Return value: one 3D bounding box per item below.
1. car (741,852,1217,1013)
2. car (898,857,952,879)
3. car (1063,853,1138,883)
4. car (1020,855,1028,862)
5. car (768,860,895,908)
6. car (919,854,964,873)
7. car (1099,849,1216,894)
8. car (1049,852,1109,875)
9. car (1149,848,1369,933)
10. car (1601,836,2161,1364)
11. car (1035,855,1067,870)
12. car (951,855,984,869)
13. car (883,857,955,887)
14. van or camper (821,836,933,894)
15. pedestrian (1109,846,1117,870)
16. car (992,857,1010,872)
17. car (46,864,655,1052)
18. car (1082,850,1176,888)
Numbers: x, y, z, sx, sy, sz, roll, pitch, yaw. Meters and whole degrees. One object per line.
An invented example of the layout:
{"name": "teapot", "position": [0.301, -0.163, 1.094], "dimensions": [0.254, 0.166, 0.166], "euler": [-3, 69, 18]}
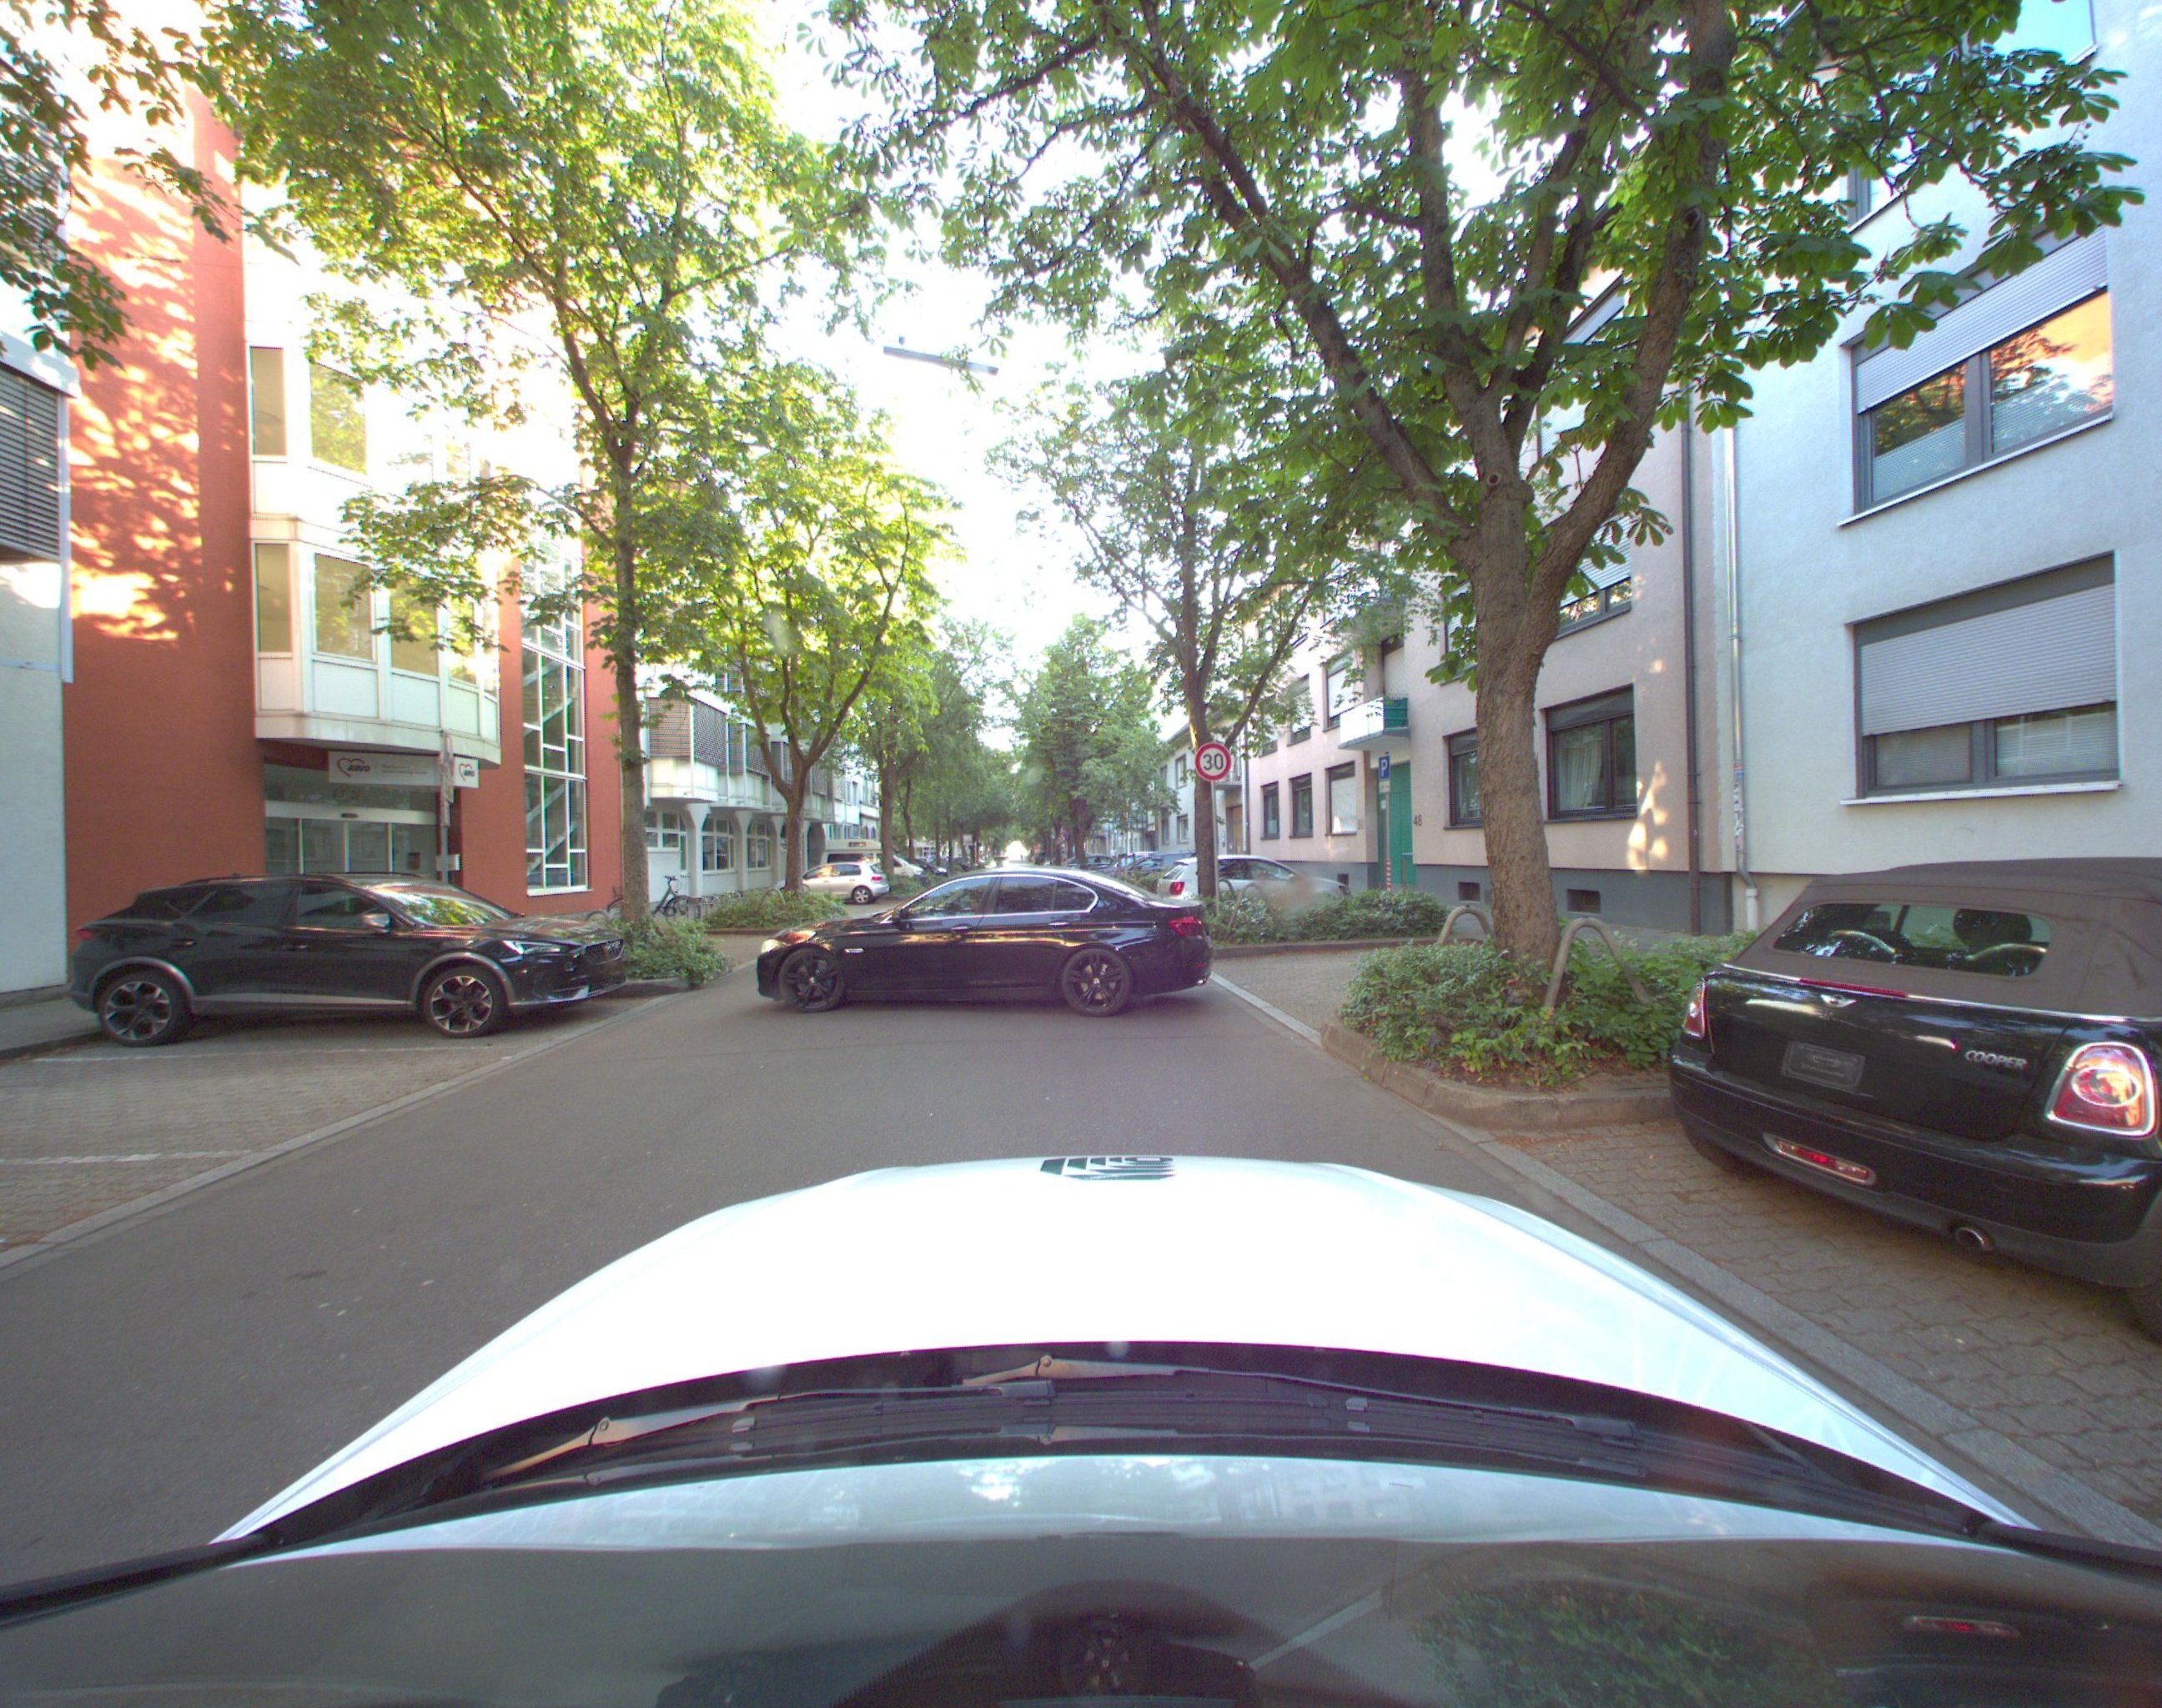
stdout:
{"name": "car", "position": [-0.947, 0.784, 8.784], "dimensions": [4.717, 1.480, 1.805], "euler": [-1, 0, 9]}
{"name": "car", "position": [-12.386, 1.068, 64.968], "dimensions": [3.959, 1.619, 1.783], "euler": [-2, 0, -4]}
{"name": "car", "position": [1.026, 0.740, 45.083], "dimensions": [3.962, 1.527, 1.782], "euler": [-2, 0, -5]}
{"name": "car", "position": [-13.680, 1.142, 194.165], "dimensions": [1.819, 1.530, 3.995], "euler": [-2, 0, -4]}
{"name": "car", "position": [-8.840, 1.044, 29.085], "dimensions": [3.960, 1.517, 1.783], "euler": [-2, 0, -4]}
{"name": "car", "position": [-13.125, 0.863, 76.632], "dimensions": [3.959, 1.619, 1.783], "euler": [-2, 0, -4]}
{"name": "car", "position": [2.747, 0.627, 29.752], "dimensions": [3.963, 1.476, 1.781], "euler": [-2, 0, -7]}
{"name": "car", "position": [-0.164, 0.657, 56.987], "dimensions": [3.963, 1.527, 1.781], "euler": [-2, 0, -6]}
{"name": "car", "position": [3.438, 0.672, 16.117], "dimensions": [3.904, 1.476, 1.661], "euler": [-2, 0, -7]}
{"name": "car", "position": [4.351, 0.629, 3.267], "dimensions": [3.608, 1.363, 1.660], "euler": [-2, 0, -8]}
{"name": "car", "position": [-3.709, 1.054, 101.053], "dimensions": [3.959, 1.684, 1.783], "euler": [-2, 0, -4]}
{"name": "car", "position": [-14.293, 1.006, 102.995], "dimensions": [3.959, 1.619, 1.783], "euler": [-2, 0, -4]}
{"name": "car", "position": [-9.584, 1.042, 48.422], "dimensions": [3.960, 1.619, 1.783], "euler": [-2, 0, -4]}
{"name": "van or camper", "position": [-9.284, 0.483, 37.418], "dimensions": [4.656, 2.478, 1.997], "euler": [-1, 0, -5]}
{"name": "pedestrian", "position": [2.766, 0.325, 70.263], "dimensions": [0.587, 2.013, 0.669], "euler": [-1, 0, -3]}
{"name": "car", "position": [-8.916, 1.120, 91.307], "dimensions": [1.775, 1.562, 4.162], "euler": [-1, 0, -4]}
{"name": "car", "position": [-7.019, 0.929, 8.273], "dimensions": [4.347, 1.517, 1.782], "euler": [-2, 0, -5]}
{"name": "car", "position": [2.084, 0.663, 36.241], "dimensions": [3.962, 1.527, 1.782], "euler": [-2, 0, -5]}
